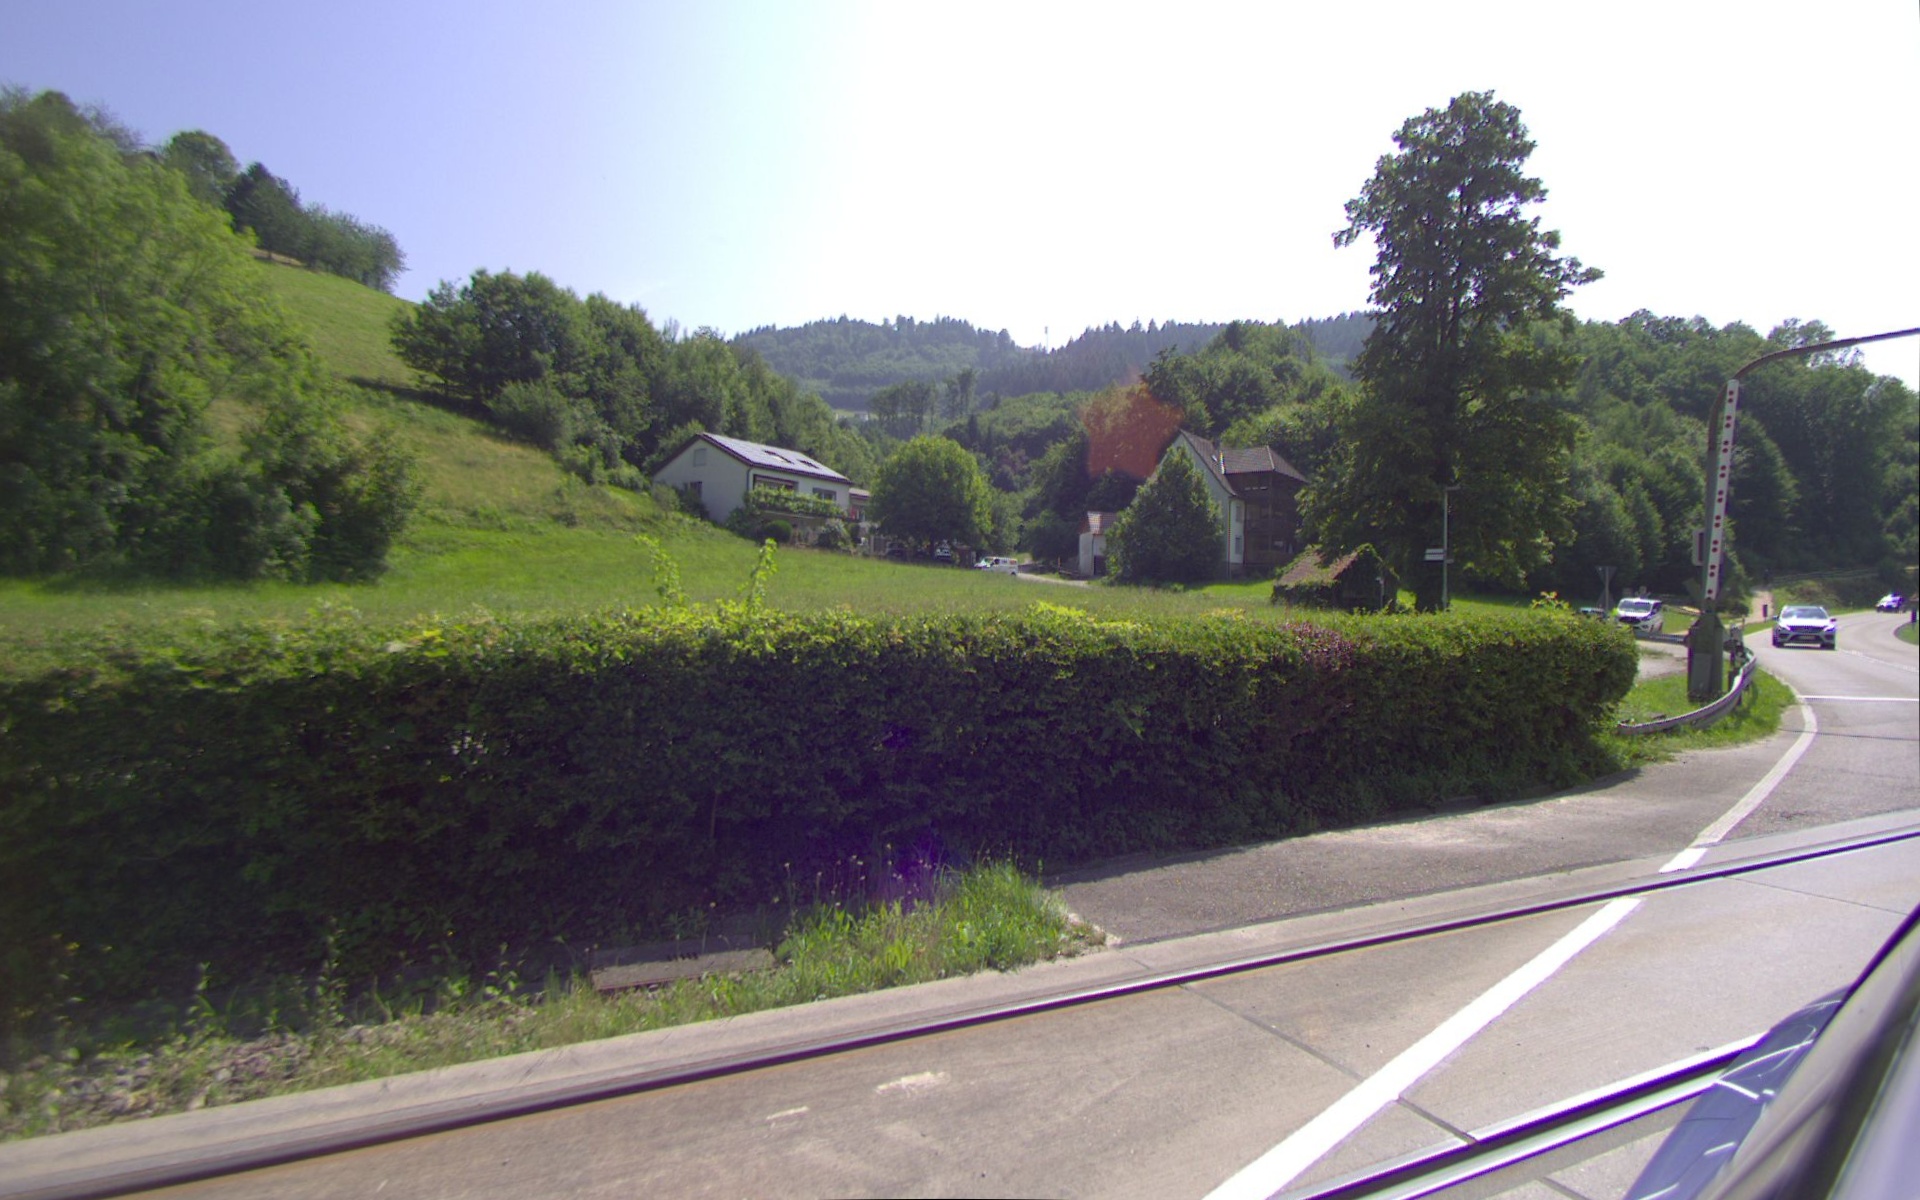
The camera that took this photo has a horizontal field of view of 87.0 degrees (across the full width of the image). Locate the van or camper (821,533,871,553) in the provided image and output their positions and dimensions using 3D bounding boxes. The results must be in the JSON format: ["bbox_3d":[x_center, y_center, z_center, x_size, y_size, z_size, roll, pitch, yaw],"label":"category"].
[{"bbox_3d":[-10.636,-5.322,94.870,2.018,1.662,4.988,2,1,33],"label":"van or camper"}]

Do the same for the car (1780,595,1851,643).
[{"bbox_3d":[36.214,0.760,42.962,2.109,1.837,4.393,2,2,38],"label":"car"}]

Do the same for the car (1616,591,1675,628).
[{"bbox_3d":[40.173,0.525,59.298,2.001,1.870,4.793,8,6,42],"label":"car"}]

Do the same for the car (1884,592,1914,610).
[{"bbox_3d":[103.382,0.113,111.418,3.930,1.807,1.997,0,2,-41],"label":"car"}]

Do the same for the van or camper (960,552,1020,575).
[{"bbox_3d":[2.797,-3.417,94.658,2.808,1.974,5.353,3,2,42],"label":"van or camper"}]

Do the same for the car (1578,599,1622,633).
[{"bbox_3d":[33.831,0.820,53.585,1.664,1.474,3.679,4,4,29],"label":"car"}]
